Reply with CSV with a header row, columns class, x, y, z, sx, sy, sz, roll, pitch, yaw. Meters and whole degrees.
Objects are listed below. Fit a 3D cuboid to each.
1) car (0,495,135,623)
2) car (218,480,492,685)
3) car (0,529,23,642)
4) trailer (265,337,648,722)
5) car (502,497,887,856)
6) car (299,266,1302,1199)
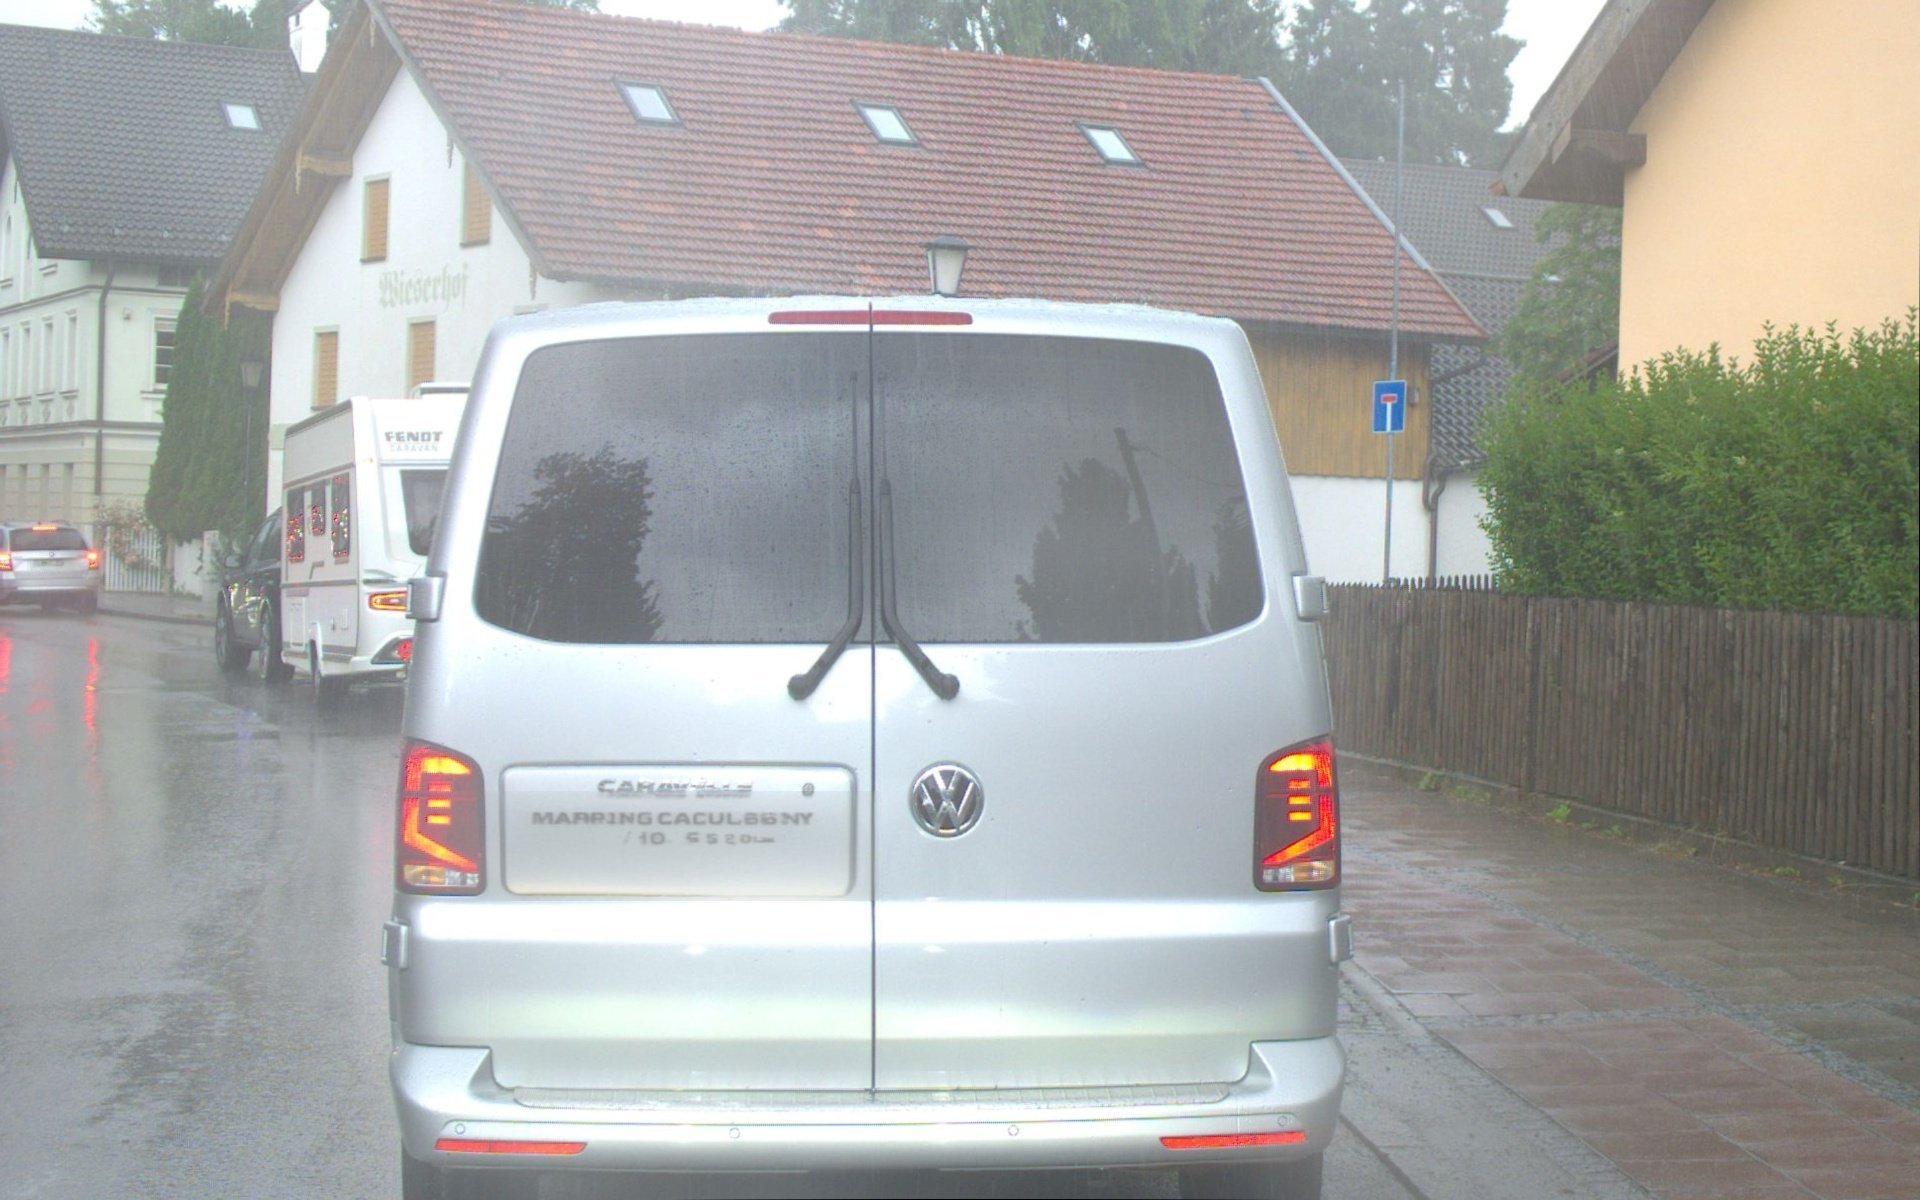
class,x,y,z,sx,sy,sz,roll,pitch,yaw
car,-14.869,-0.661,54.879,2.168,1.893,5.015,2,0,-27
car,-6.164,-0.209,34.550,2.053,1.892,5.177,0,1,-17
car,-18.136,-0.352,60.480,2.168,1.892,5.015,2,1,-27
trailer,-4.416,-0.588,29.148,2.270,2.894,6.134,0,1,-17
car,-1.517,0.277,18.076,1.708,1.578,4.687,-1,2,-8
car,-0.297,0.345,8.639,1.776,1.956,5.074,0,1,0
